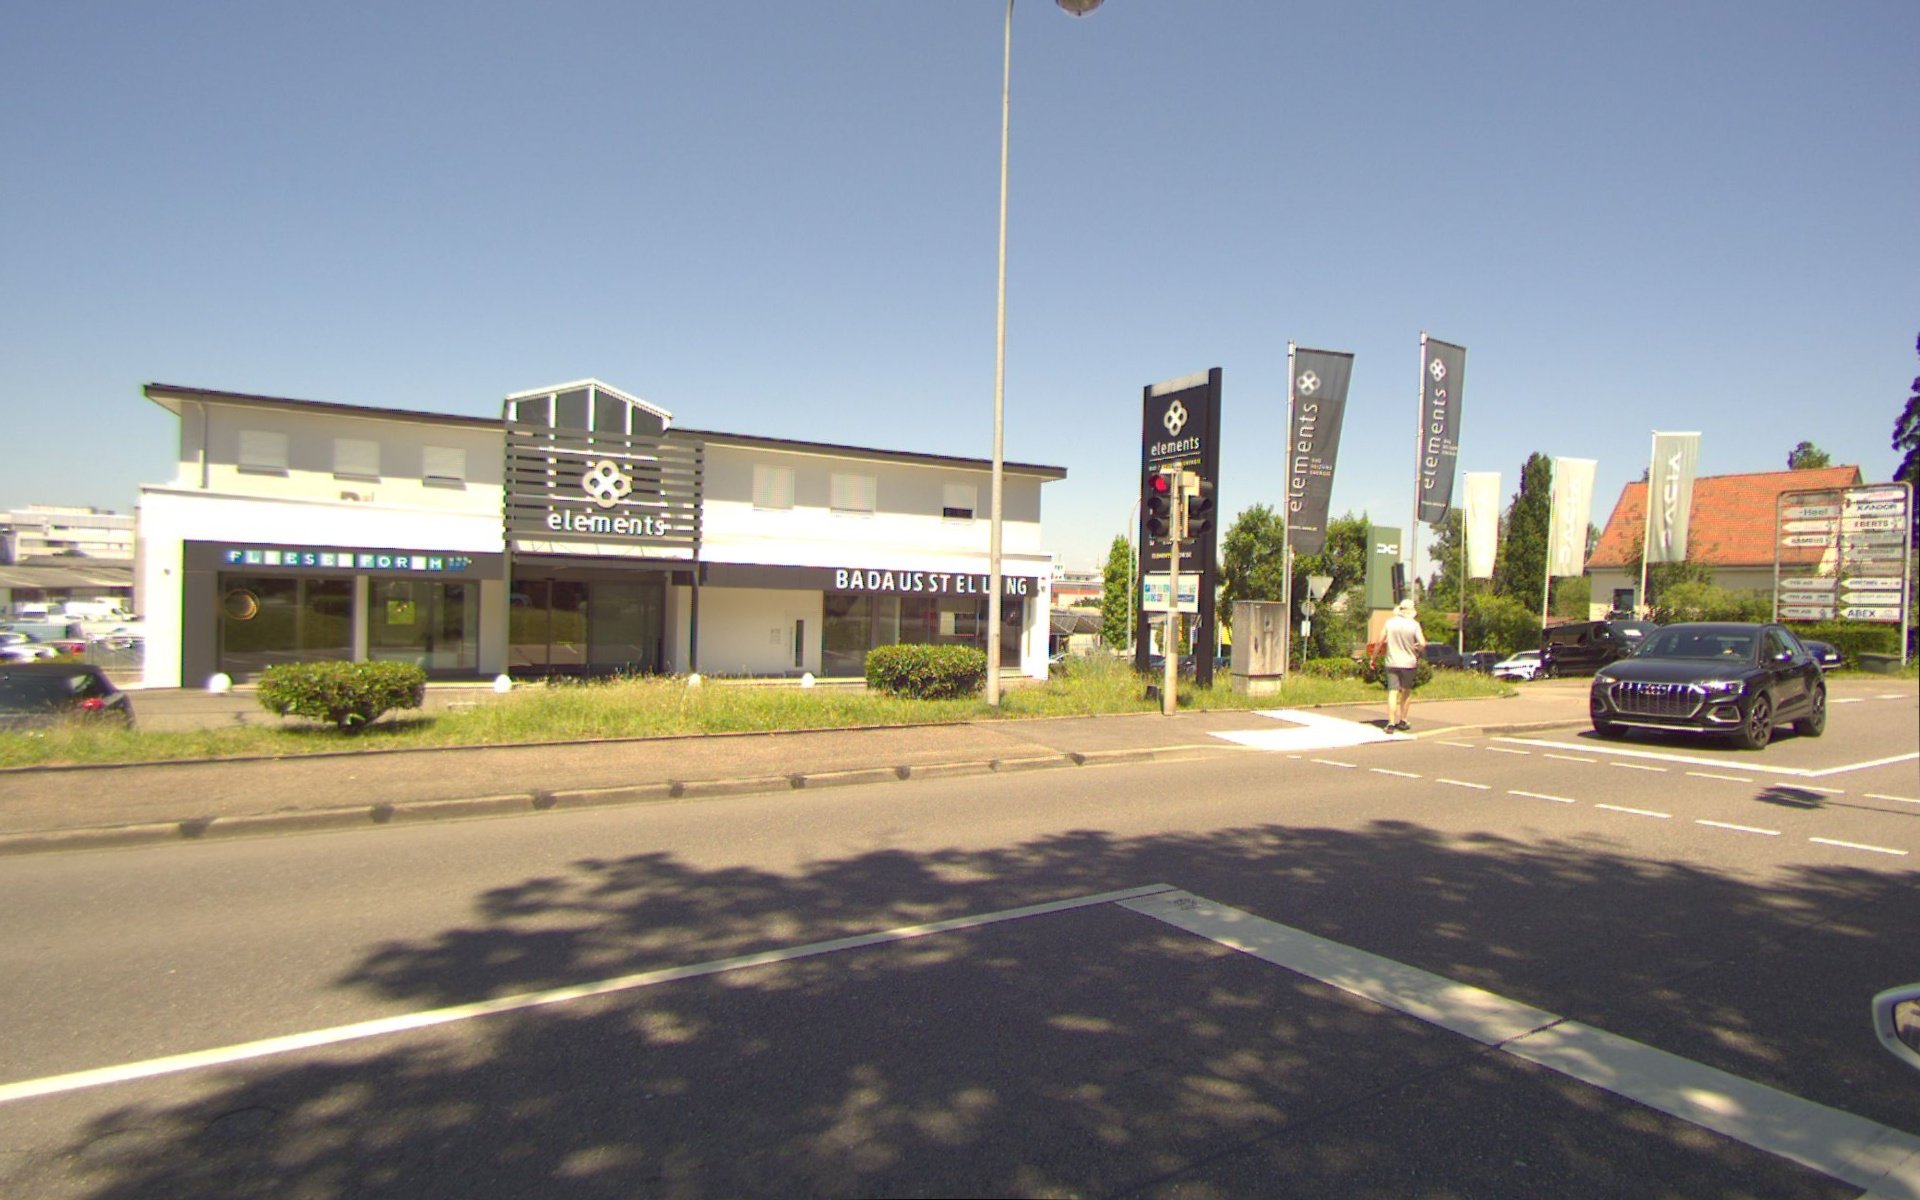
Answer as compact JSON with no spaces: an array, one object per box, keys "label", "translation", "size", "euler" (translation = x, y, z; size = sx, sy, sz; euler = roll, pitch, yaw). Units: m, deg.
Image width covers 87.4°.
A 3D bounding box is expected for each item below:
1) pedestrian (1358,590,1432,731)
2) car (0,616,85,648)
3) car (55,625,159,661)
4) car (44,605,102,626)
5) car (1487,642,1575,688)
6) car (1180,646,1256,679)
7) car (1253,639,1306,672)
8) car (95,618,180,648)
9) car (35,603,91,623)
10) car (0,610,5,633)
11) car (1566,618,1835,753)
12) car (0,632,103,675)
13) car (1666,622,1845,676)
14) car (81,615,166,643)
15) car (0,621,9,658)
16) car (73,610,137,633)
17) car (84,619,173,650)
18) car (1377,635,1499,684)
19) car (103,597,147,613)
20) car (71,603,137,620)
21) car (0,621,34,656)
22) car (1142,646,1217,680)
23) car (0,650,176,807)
[{"label":"pedestrian","translation":[5.679,0.779,13.140],"size":[0.689,1.785,0.545],"euler":[1,0,-4]},{"label":"car","translation":[-54.807,1.901,59.820],"size":[3.726,1.778,1.719],"euler":[2,-1,-28]},{"label":"car","translation":[-43.753,2.199,51.613],"size":[3.726,1.778,1.719],"euler":[2,-1,-28]},{"label":"car","translation":[-83.025,1.438,94.100],"size":[3.724,1.778,1.719],"euler":[0,3,-27]},{"label":"car","translation":[23.963,2.678,42.128],"size":[4.053,1.744,1.795],"euler":[2,0,-38]},{"label":"car","translation":[12.304,2.943,47.794],"size":[3.840,1.434,1.632],"euler":[2,-1,-43]},{"label":"car","translation":[18.795,3.243,58.998],"size":[1.785,1.744,4.075],"euler":[2,0,36]},{"label":"car","translation":[-50.660,2.039,61.919],"size":[3.726,1.778,1.719],"euler":[2,-1,-28]},{"label":"car","translation":[-88.237,1.307,98.835],"size":[3.726,1.778,1.719],"euler":[1,2,-28]},{"label":"car","translation":[-74.714,1.600,75.632],"size":[3.726,1.778,1.719],"euler":[2,0,-28]},{"label":"car","translation":[10.460,1.091,14.087],"size":[4.263,1.576,1.912],"euler":[2,-1,-37]},{"label":"car","translation":[-39.611,2.288,43.279],"size":[3.726,1.778,1.719],"euler":[2,-1,-28]},{"label":"car","translation":[24.901,1.488,31.623],"size":[1.751,1.524,4.129],"euler":[1,-1,-20]},{"label":"car","translation":[-55.297,1.914,66.498],"size":[4.004,1.778,1.719],"euler":[2,-1,-28]},{"label":"car","translation":[-49.207,1.926,48.959],"size":[3.726,1.778,1.719],"euler":[2,-1,-28]},{"label":"car","translation":[-71.031,1.781,83.478],"size":[3.726,1.778,1.719],"euler":[2,1,-28]},{"label":"car","translation":[-49.338,2.067,59.703],"size":[3.726,1.778,1.719],"euler":[2,-1,-28]},{"label":"car","translation":[18.365,2.282,38.600],"size":[4.022,1.744,1.808],"euler":[2,0,-16]},{"label":"car","translation":[-99.487,0.611,119.741],"size":[3.726,1.778,1.719],"euler":[2,-1,-28]},{"label":"car","translation":[-95.709,1.295,112.410],"size":[5.236,1.778,2.051],"euler":[2,-1,-28]},{"label":"car","translation":[-51.429,1.992,52.782],"size":[3.726,1.778,1.719],"euler":[2,-1,-28]},{"label":"car","translation":[10.956,3.103,50.078],"size":[3.973,1.506,1.735],"euler":[2,-1,-44]},{"label":"car","translation":[-11.698,1.502,12.770],"size":[1.746,1.553,4.076],"euler":[1,-1,-24]}]
